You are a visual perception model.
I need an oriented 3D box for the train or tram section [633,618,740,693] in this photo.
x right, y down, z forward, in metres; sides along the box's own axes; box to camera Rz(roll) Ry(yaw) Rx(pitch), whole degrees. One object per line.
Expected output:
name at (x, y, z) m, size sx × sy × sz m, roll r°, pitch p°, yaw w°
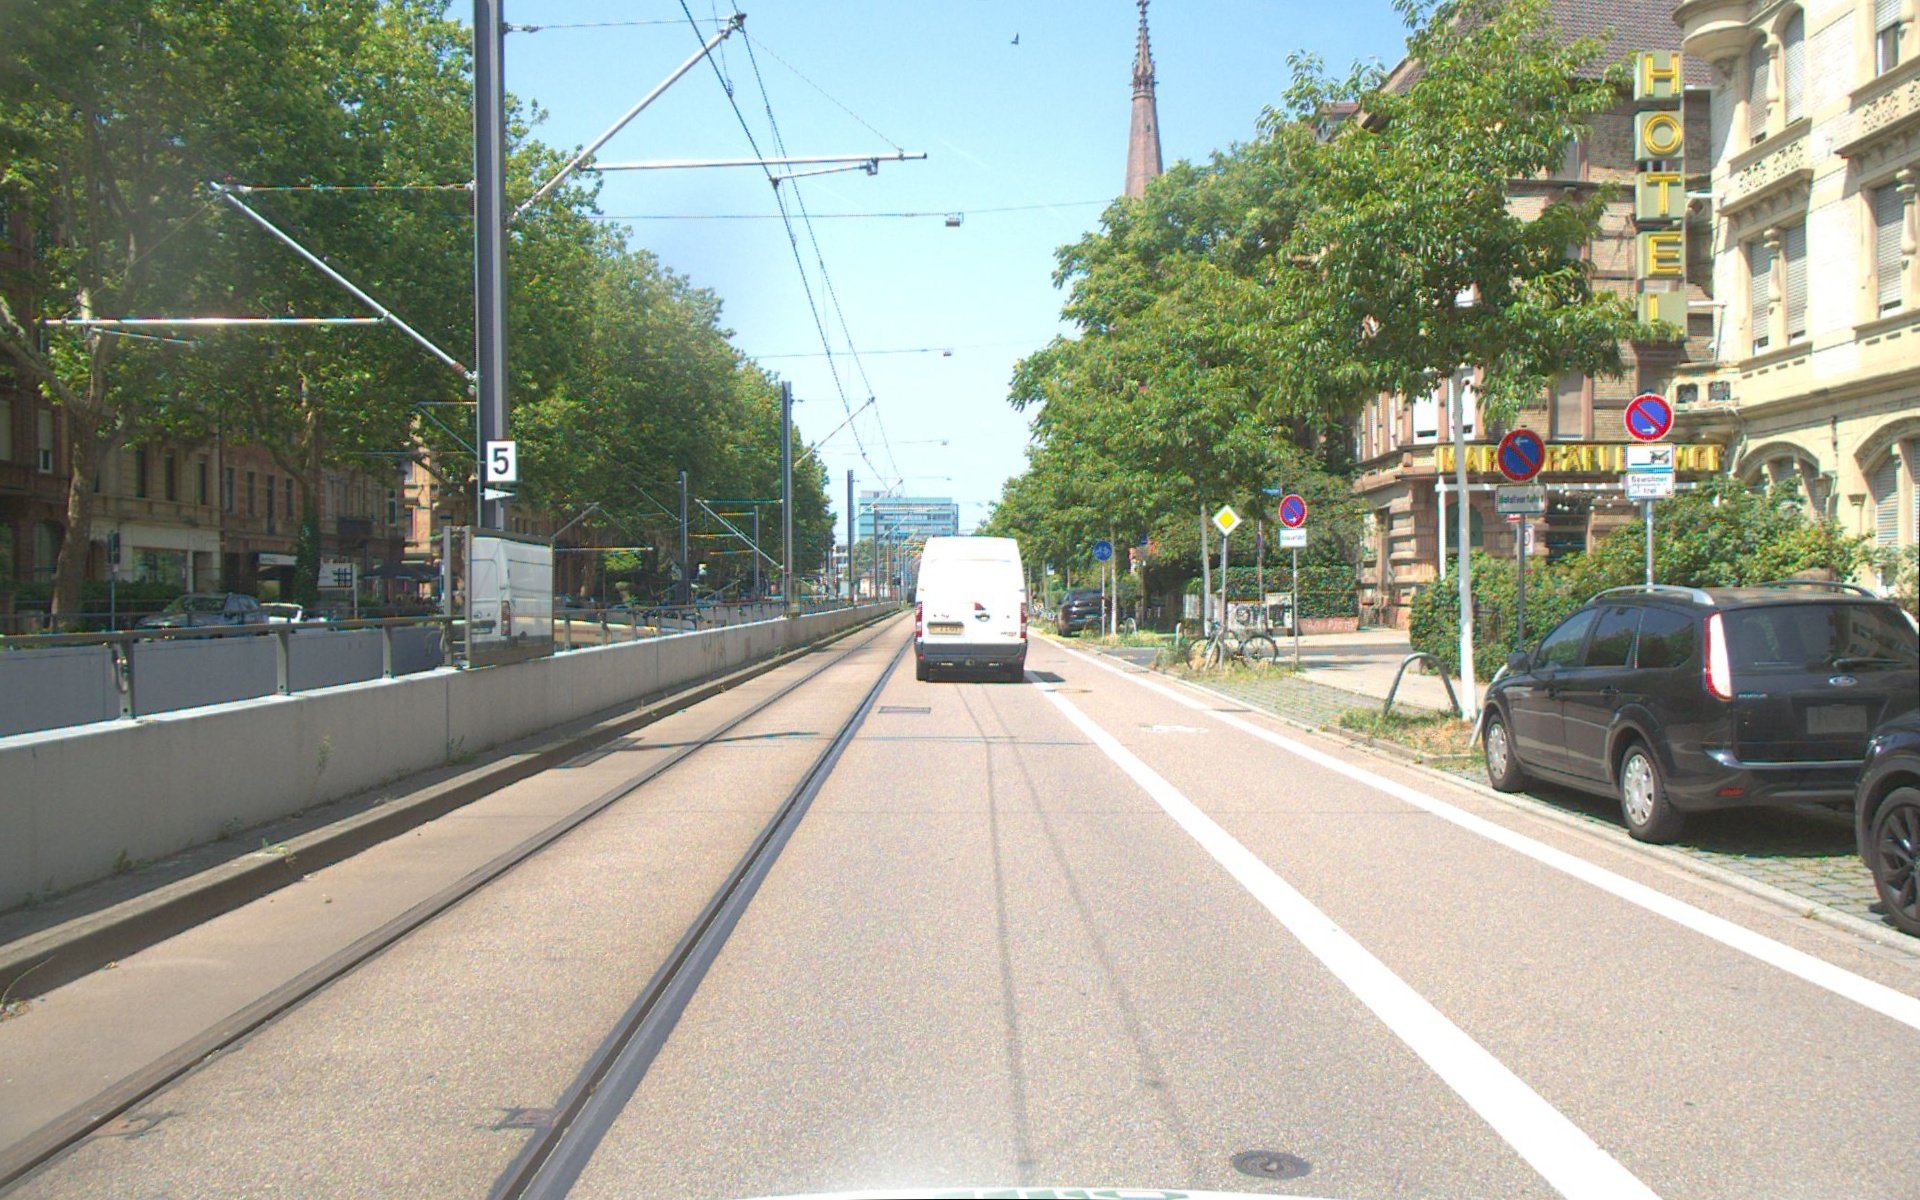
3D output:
train or tram section at (-10.461, 2.051, 64.282) m, size 2.673 × 2.552 × 10.087 m, roll 0°, pitch 0°, yaw -1°

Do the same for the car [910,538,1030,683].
car at (0.159, 0.183, 31.110) m, size 2.074 × 2.502 × 5.054 m, roll 0°, pitch 0°, yaw 0°

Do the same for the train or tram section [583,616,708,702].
train or tram section at (-10.300, 1.844, 55.040) m, size 2.673 × 2.552 × 8.489 m, roll 0°, pitch 0°, yaw -1°

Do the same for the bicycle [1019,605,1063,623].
bicycle at (3.974, 0.691, 80.800) m, size 1.526 × 0.841 × 4.003 m, roll 0°, pitch 0°, yaw 12°

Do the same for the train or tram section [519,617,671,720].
train or tram section at (-10.158, 1.819, 46.858) m, size 2.673 × 2.552 × 8.001 m, roll 0°, pitch 0°, yaw -1°

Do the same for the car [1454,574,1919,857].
car at (4.946, 0.635, 11.405) m, size 1.694 × 1.563 × 4.403 m, roll 0°, pitch 0°, yaw -1°

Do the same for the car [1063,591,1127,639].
car at (4.910, 0.531, 60.763) m, size 2.112 × 1.699 × 4.001 m, roll 0°, pitch 0°, yaw 1°

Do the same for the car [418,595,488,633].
car at (-20.106, 0.541, 65.724) m, size 1.560 × 1.473 × 4.000 m, roll 0°, pitch 0°, yaw 0°

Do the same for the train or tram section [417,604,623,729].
train or tram section at (-10.020, 1.381, 38.650) m, size 2.673 × 2.552 × 8.515 m, roll 0°, pitch 0°, yaw -1°

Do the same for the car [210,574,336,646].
car at (-19.446, 0.262, 47.008) m, size 1.953 × 1.938 × 4.147 m, roll 0°, pitch 0°, yaw -2°

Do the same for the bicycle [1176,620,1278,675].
bicycle at (4.972, 0.881, 30.839) m, size 1.804 × 0.970 × 0.503 m, roll -1°, pitch 0°, yaw 1°

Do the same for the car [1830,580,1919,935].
car at (5.062, 0.684, 5.946) m, size 1.633 × 1.557 × 4.011 m, roll -1°, pitch 0°, yaw -2°

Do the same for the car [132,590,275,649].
car at (-19.239, 0.465, 42.244) m, size 1.814 × 1.425 × 4.196 m, roll 0°, pitch 0°, yaw -2°

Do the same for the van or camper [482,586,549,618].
van or camper at (-29.292, 0.113, 108.984) m, size 3.908 × 2.049 × 1.999 m, roll -1°, pitch 0°, yaw -3°

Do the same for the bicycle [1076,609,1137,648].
bicycle at (4.620, 0.889, 52.110) m, size 1.849 × 1.202 × 0.640 m, roll 0°, pitch 0°, yaw -3°
